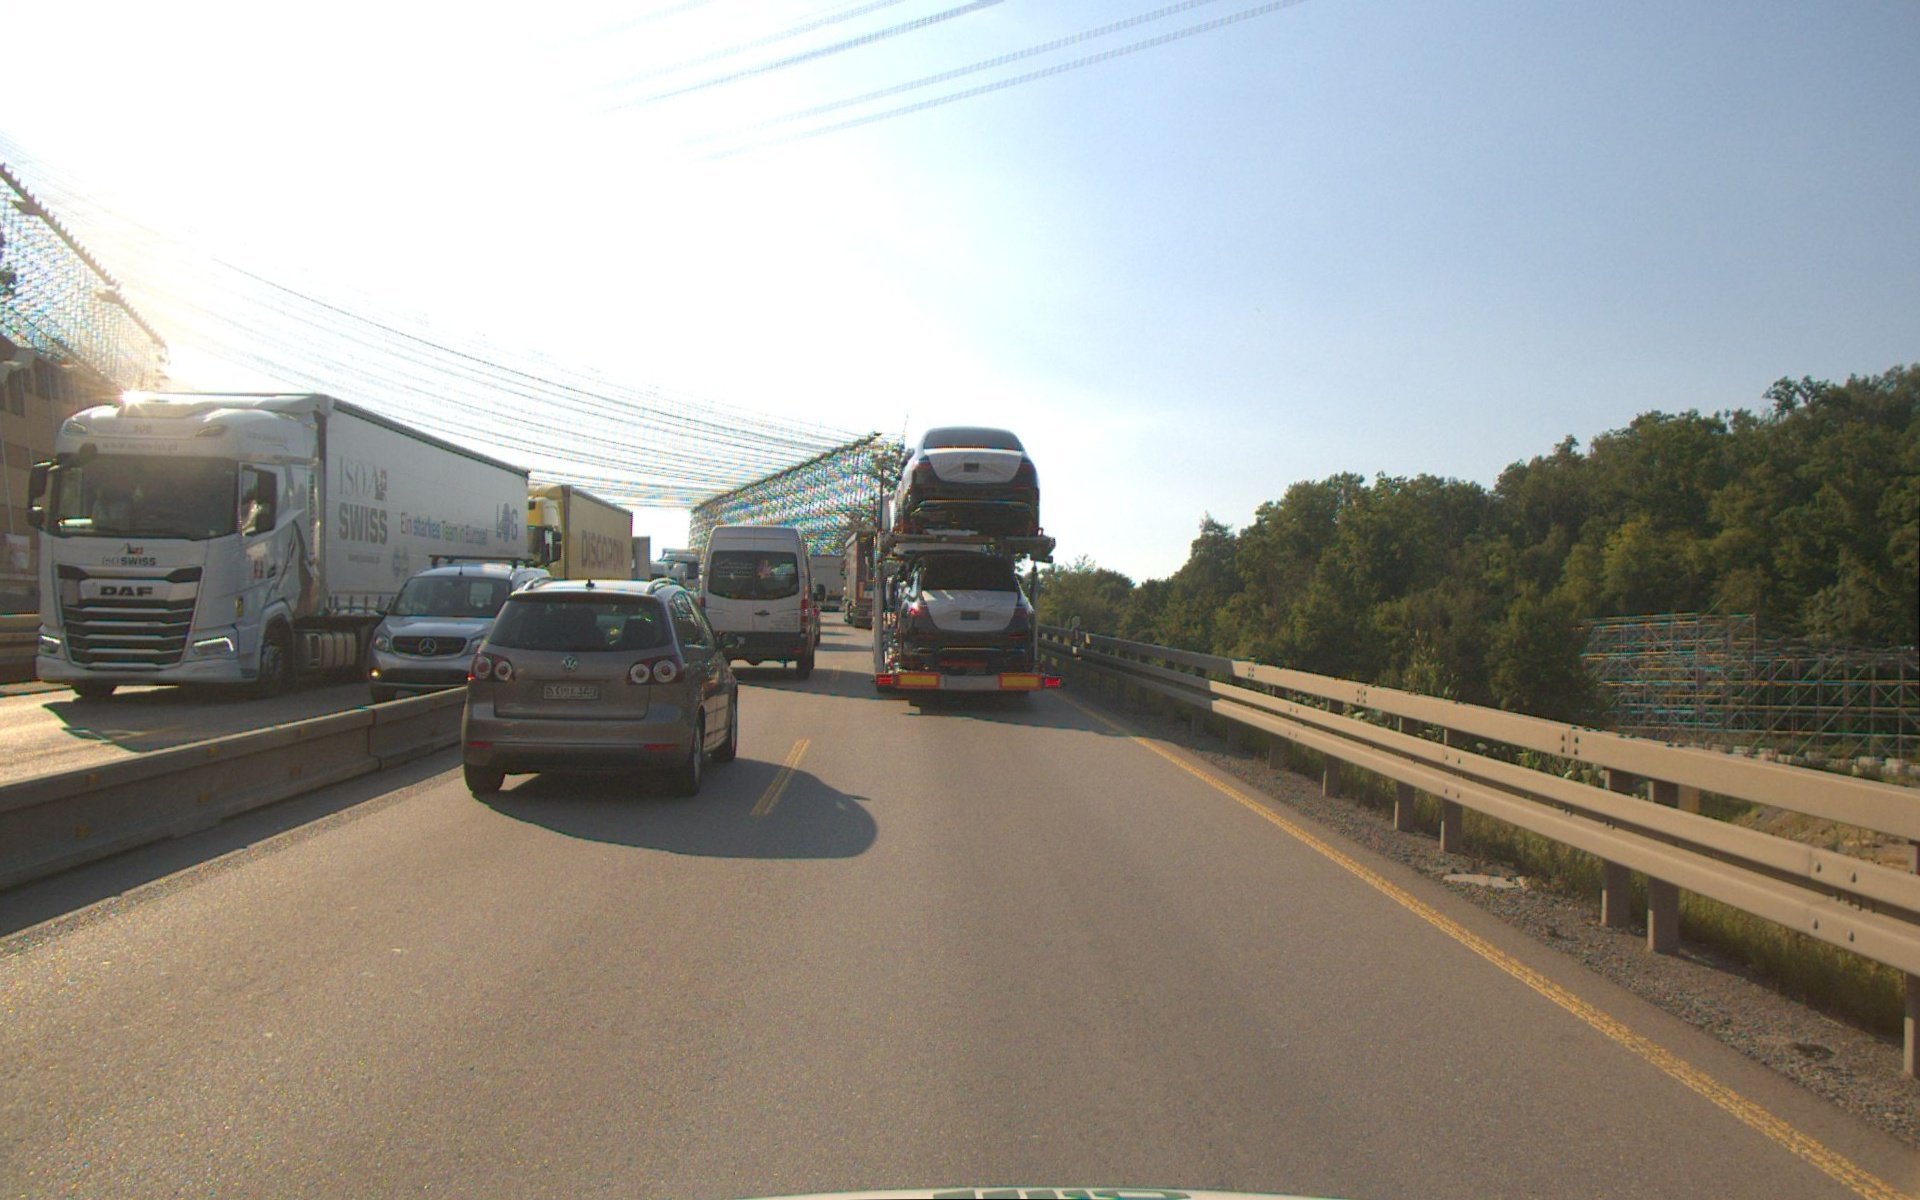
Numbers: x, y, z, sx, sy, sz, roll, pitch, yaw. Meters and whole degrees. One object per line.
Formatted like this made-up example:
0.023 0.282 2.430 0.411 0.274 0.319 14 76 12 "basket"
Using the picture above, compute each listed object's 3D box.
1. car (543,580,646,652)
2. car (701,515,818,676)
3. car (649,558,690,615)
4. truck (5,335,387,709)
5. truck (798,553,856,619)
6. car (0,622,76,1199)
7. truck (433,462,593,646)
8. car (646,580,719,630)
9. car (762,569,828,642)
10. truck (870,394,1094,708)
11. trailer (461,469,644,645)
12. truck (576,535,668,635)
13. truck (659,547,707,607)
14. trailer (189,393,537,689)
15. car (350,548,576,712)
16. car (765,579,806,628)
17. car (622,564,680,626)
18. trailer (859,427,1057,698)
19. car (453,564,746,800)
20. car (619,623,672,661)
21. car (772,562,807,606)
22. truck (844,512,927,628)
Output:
-8.195 0.334 37.337 1.637 1.533 3.845 1 0 -3 "car"
-3.593 -0.029 30.227 1.940 2.731 4.142 0 -1 -5 "car"
-14.909 -0.704 85.089 1.636 2.813 4.954 1 0 -5 "car"
-9.959 -0.845 22.380 2.395 4.347 6.318 0 -1 -2 "truck"
-10.176 -1.051 125.508 3.580 4.759 11.673 1 0 -8 "truck"
-2.533 0.763 0.270 1.900 1.506 5.222 0 -1 1 "car"
-11.215 -1.022 42.048 2.836 4.347 5.766 0 -1 -4 "truck"
-8.614 0.200 51.671 1.719 1.475 4.531 0 -1 -3 "car"
-4.690 0.190 47.403 1.635 2.019 3.816 0 -1 -2 "car"
0.135 -0.572 24.285 2.813 4.050 5.766 0 -1 -4 "truck"
-11.738 -0.964 49.292 2.836 4.471 14.366 0 -1 -4 "trailer"
-12.771 -0.455 62.996 2.312 3.593 7.691 0 -1 -3 "truck"
-19.440 -1.578 116.455 2.590 4.065 9.020 1 0 -5 "truck"
-10.300 -0.746 30.356 2.404 4.341 12.139 0 -1 -2 "trailer"
-6.518 0.339 22.244 1.796 1.950 4.861 1 0 -3 "car"
-7.409 0.163 70.353 1.636 2.019 3.813 0 -1 -5 "car"
-14.551 -0.201 78.139 2.086 2.798 5.499 0 -1 -5 "car"
-0.485 -0.413 32.446 2.818 4.064 15.265 0 -1 -4 "trailer"
-2.740 0.602 13.450 1.667 1.615 4.144 0 -1 -3 "car"
-13.170 1.765 69.467 1.774 1.557 4.043 0 -1 -5 "car"
-8.166 -0.754 79.424 1.636 2.019 3.813 0 -1 -5 "car"
-3.460 -1.287 74.077 3.165 4.759 11.682 1 0 -5 "truck"
